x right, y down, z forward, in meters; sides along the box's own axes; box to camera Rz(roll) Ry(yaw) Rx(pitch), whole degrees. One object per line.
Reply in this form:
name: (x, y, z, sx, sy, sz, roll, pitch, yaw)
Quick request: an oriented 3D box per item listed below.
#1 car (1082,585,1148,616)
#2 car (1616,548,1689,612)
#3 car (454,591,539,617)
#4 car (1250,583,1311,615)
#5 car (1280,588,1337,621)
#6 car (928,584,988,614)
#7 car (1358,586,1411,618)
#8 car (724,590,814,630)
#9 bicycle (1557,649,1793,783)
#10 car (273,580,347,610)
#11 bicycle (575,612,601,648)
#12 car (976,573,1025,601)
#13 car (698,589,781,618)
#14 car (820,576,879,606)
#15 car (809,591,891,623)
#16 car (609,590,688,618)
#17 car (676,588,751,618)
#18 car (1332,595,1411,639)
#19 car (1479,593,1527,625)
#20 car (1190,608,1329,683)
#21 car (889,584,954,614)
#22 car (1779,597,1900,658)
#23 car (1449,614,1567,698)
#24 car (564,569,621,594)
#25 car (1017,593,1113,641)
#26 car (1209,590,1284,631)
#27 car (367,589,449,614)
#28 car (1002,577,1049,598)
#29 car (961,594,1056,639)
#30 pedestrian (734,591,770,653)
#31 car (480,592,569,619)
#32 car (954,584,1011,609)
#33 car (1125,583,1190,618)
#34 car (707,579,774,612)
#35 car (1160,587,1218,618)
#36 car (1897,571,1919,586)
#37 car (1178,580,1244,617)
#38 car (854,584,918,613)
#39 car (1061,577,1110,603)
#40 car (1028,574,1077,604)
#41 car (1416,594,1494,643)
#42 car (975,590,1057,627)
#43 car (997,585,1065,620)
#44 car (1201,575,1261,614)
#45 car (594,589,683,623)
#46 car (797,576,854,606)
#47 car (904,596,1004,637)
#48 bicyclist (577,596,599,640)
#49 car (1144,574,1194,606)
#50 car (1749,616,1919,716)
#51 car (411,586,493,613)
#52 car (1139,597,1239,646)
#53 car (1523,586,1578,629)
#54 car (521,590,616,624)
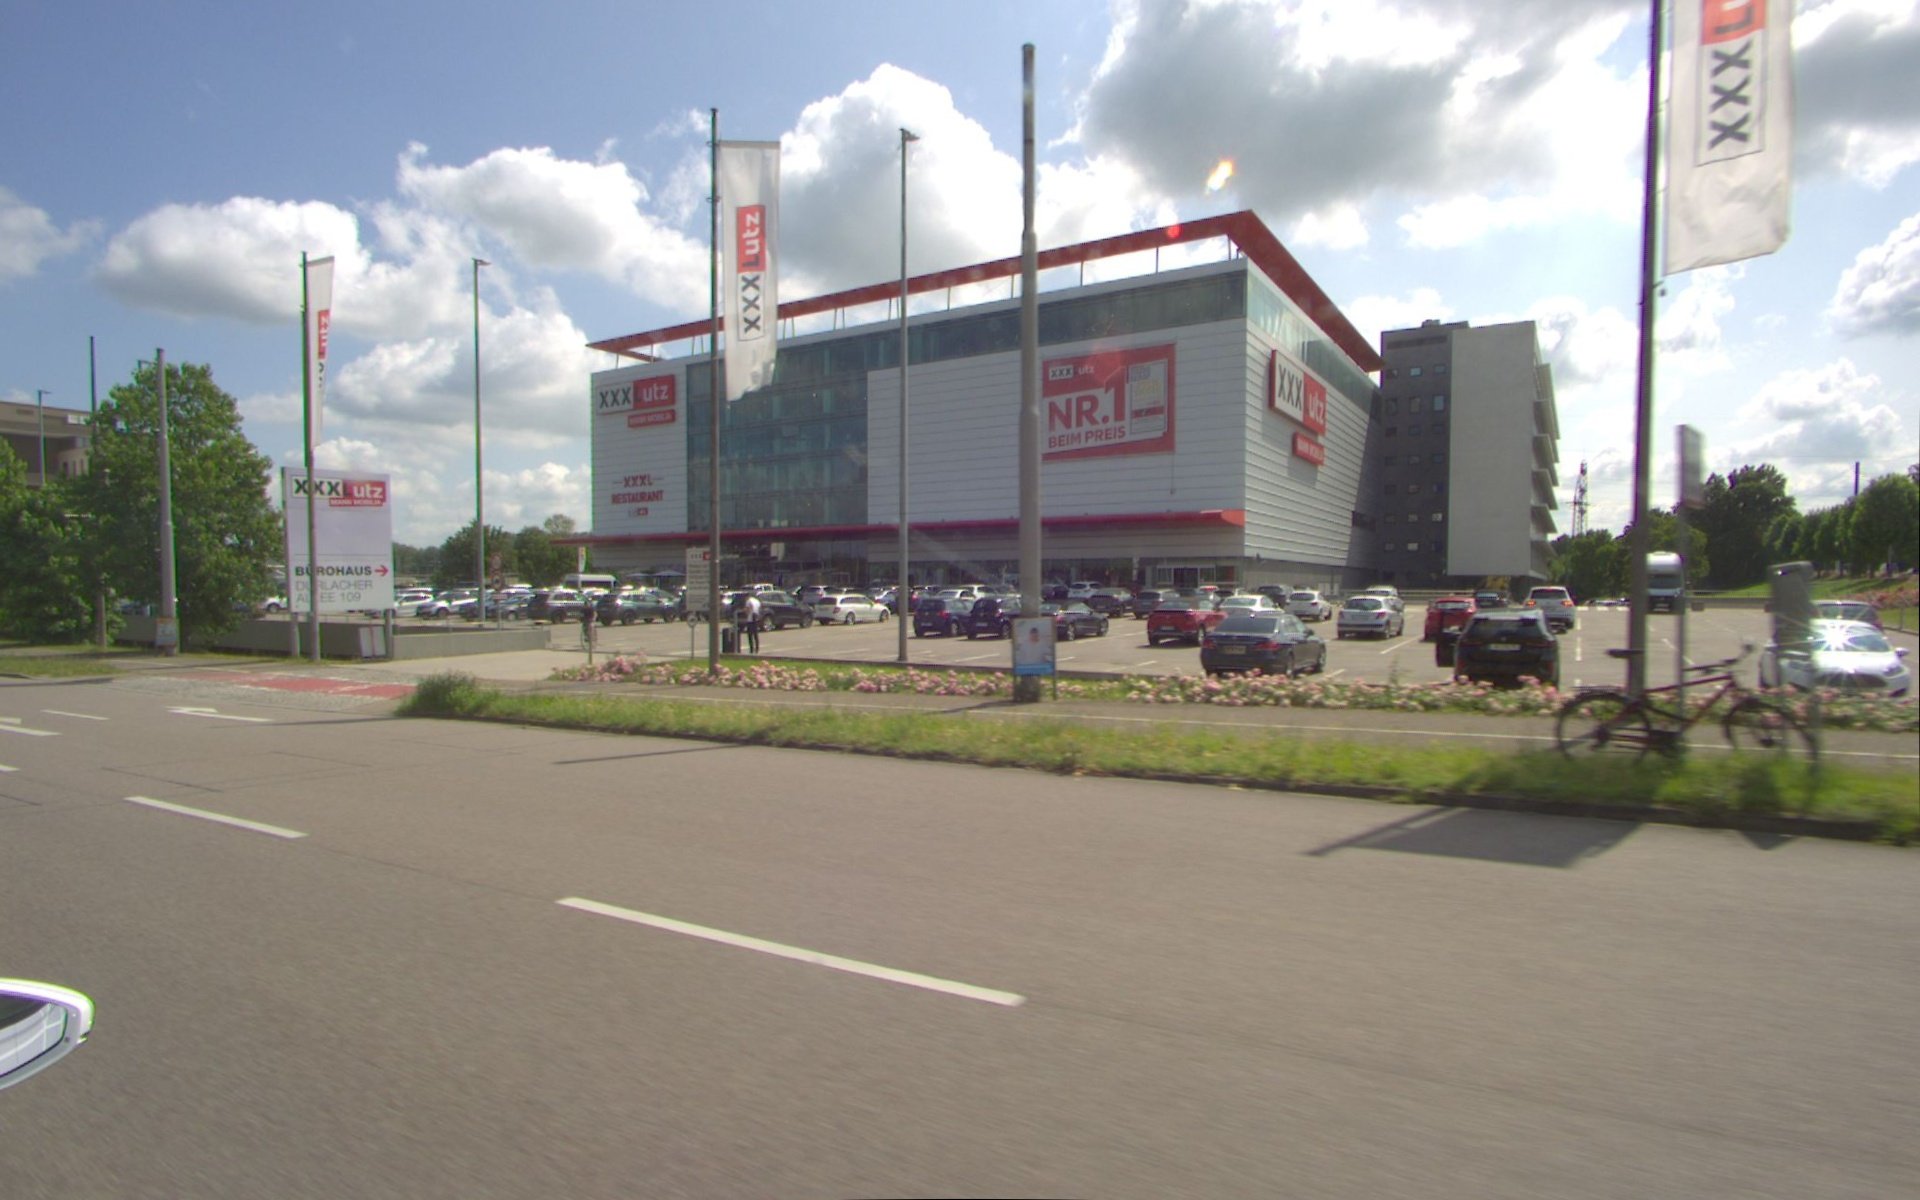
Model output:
car: (8.172, 0.014, 52.556, 1.972, 1.528, 3.978, -1, 0, 33)
car: (37.756, -1.035, 54.624, 3.080, 3.196, 7.855, 0, 1, 35)
car: (-26.452, 0.200, 57.252, 1.663, 1.343, 4.173, 1, 2, 32)
car: (16.685, -0.057, 52.020, 1.971, 1.609, 4.216, 1, 1, 32)
car: (16.527, 0.193, 47.365, 1.645, 1.471, 3.978, 1, 1, 33)
car: (-0.082, -0.083, 57.135, 1.679, 1.532, 4.146, 1, 3, 28)
car: (21.431, 0.084, 50.521, 1.891, 1.550, 3.980, 1, 1, 31)
car: (-8.322, 0.405, 43.956, 1.715, 1.552, 4.047, 0, 2, 29)
bicycle: (5.748, 0.902, 8.148, 1.522, 0.965, 0.516, 0, 0, 32)
car: (-46.541, -0.404, 71.743, 1.971, 2.041, 3.976, 1, 2, 33)
bicycle: (-12.257, 0.977, 33.022, 0.614, 1.082, 1.964, -1, 2, -15)
car: (3.037, -0.948, 74.900, 1.970, 2.040, 3.980, 1, 1, 31)
car: (-11.660, 0.187, 53.199, 1.863, 1.519, 4.352, 0, 0, 31)
car: (-7.594, -0.606, 69.043, 1.971, 2.040, 3.979, 1, 1, 32)
car: (-5.327, 0.317, 48.954, 1.733, 1.447, 4.279, 3, 2, 32)
car: (-17.656, 0.222, 56.984, 1.734, 1.483, 4.232, 1, 1, 31)
car: (-13.407, 0.149, 54.674, 1.702, 1.484, 3.978, 1, 2, 31)
car: (14.920, 0.572, 36.168, 1.821, 1.381, 4.345, 1, 2, 34)
car: (25.698, 0.433, 47.336, 1.891, 1.460, 3.982, 1, 0, 30)
car: (6.917, 0.962, 22.822, 1.831, 1.496, 4.347, -1, 0, 34)
car: (-2.227, -0.115, 58.646, 1.825, 1.609, 4.216, 1, 2, 30)
car: (25.315, 0.735, 28.996, 2.020, 1.428, 4.345, 2, 3, 34)
car: (11.259, 1.041, 20.433, 1.830, 1.435, 4.349, 0, 0, 33)
car: (-30.014, -1.521, 81.864, 1.971, 1.977, 3.979, 1, 1, 32)
car: (3.894, 0.577, 36.620, 1.659, 1.529, 4.345, 1, 2, 34)
car: (10.984, 0.367, 38.222, 1.580, 1.381, 4.012, 2, 3, 34)
car: (-34.559, 0.052, 62.815, 1.864, 1.408, 4.177, 1, 2, 29)
car: (4.854, -0.917, 73.494, 1.714, 1.498, 4.158, 1, 1, 32)
car: (1.896, 0.576, 38.119, 1.604, 1.462, 4.345, 2, 3, 34)
pedestrian: (-6.219, 0.648, 29.901, 0.859, 1.806, 0.780, 0, 1, -27)
car: (-24.140, 0.267, 55.685, 1.738, 1.343, 4.350, 1, 2, 31)
car: (1.473, -0.198, 63.920, 1.681, 1.531, 4.331, 1, 1, 31)
car: (10.102, -0.006, 51.092, 1.825, 1.573, 4.036, -1, 2, 34)
car: (-13.843, -0.292, 63.339, 1.971, 2.040, 3.978, 1, 1, 32)
car: (12.739, 0.138, 55.583, 1.865, 1.661, 3.977, 0, 0, 34)
car: (155.823, -3.526, 163.926, 2.116, 2.390, 5.459, 1, 0, 29)
car: (12.510, -0.076, 49.785, 1.973, 1.762, 3.976, 0, 0, 34)
car: (-4.411, -0.103, 60.388, 1.825, 1.609, 4.216, 1, 2, 30)
car: (8.836, -0.672, 70.405, 1.970, 1.746, 3.980, 1, 1, 31)
car: (6.668, -0.772, 71.801, 1.970, 2.040, 3.980, 1, 1, 31)
car: (17.178, 0.592, 34.659, 1.821, 1.447, 4.345, 2, 3, 34)
car: (2.522, 0.372, 43.993, 1.800, 1.528, 4.140, 1, 1, 33)
car: (3.522, 0.098, 49.057, 1.670, 1.609, 4.007, 2, 1, 31)
car: (14.730, -0.307, 54.314, 1.971, 2.040, 3.978, 1, 1, 33)
car: (-16.142, 0.254, 50.420, 1.738, 1.574, 4.173, 1, 2, 31)
car: (-9.471, -0.619, 70.722, 1.971, 2.040, 3.979, 1, 1, 32)
car: (-0.171, 0.611, 39.478, 1.821, 1.381, 4.345, 2, 3, 34)
bicyclist: (-12.271, 0.578, 33.071, 0.606, 1.432, 0.713, 0, 2, -15)
car: (14.007, -0.641, 66.978, 1.971, 2.040, 3.979, 1, 1, 32)
car: (15.375, 1.055, 17.707, 1.771, 1.459, 4.349, 0, 0, 33)
car: (-30.484, -0.028, 60.154, 1.970, 1.591, 3.981, 0, 0, 30)
car: (7.762, 0.665, 33.648, 1.821, 1.381, 4.345, 2, 3, 34)
car: (24.395, 0.258, 41.409, 1.825, 1.609, 4.216, 1, 2, 30)
car: (-20.516, 0.327, 52.597, 2.000, 1.596, 4.350, 1, 2, 31)
